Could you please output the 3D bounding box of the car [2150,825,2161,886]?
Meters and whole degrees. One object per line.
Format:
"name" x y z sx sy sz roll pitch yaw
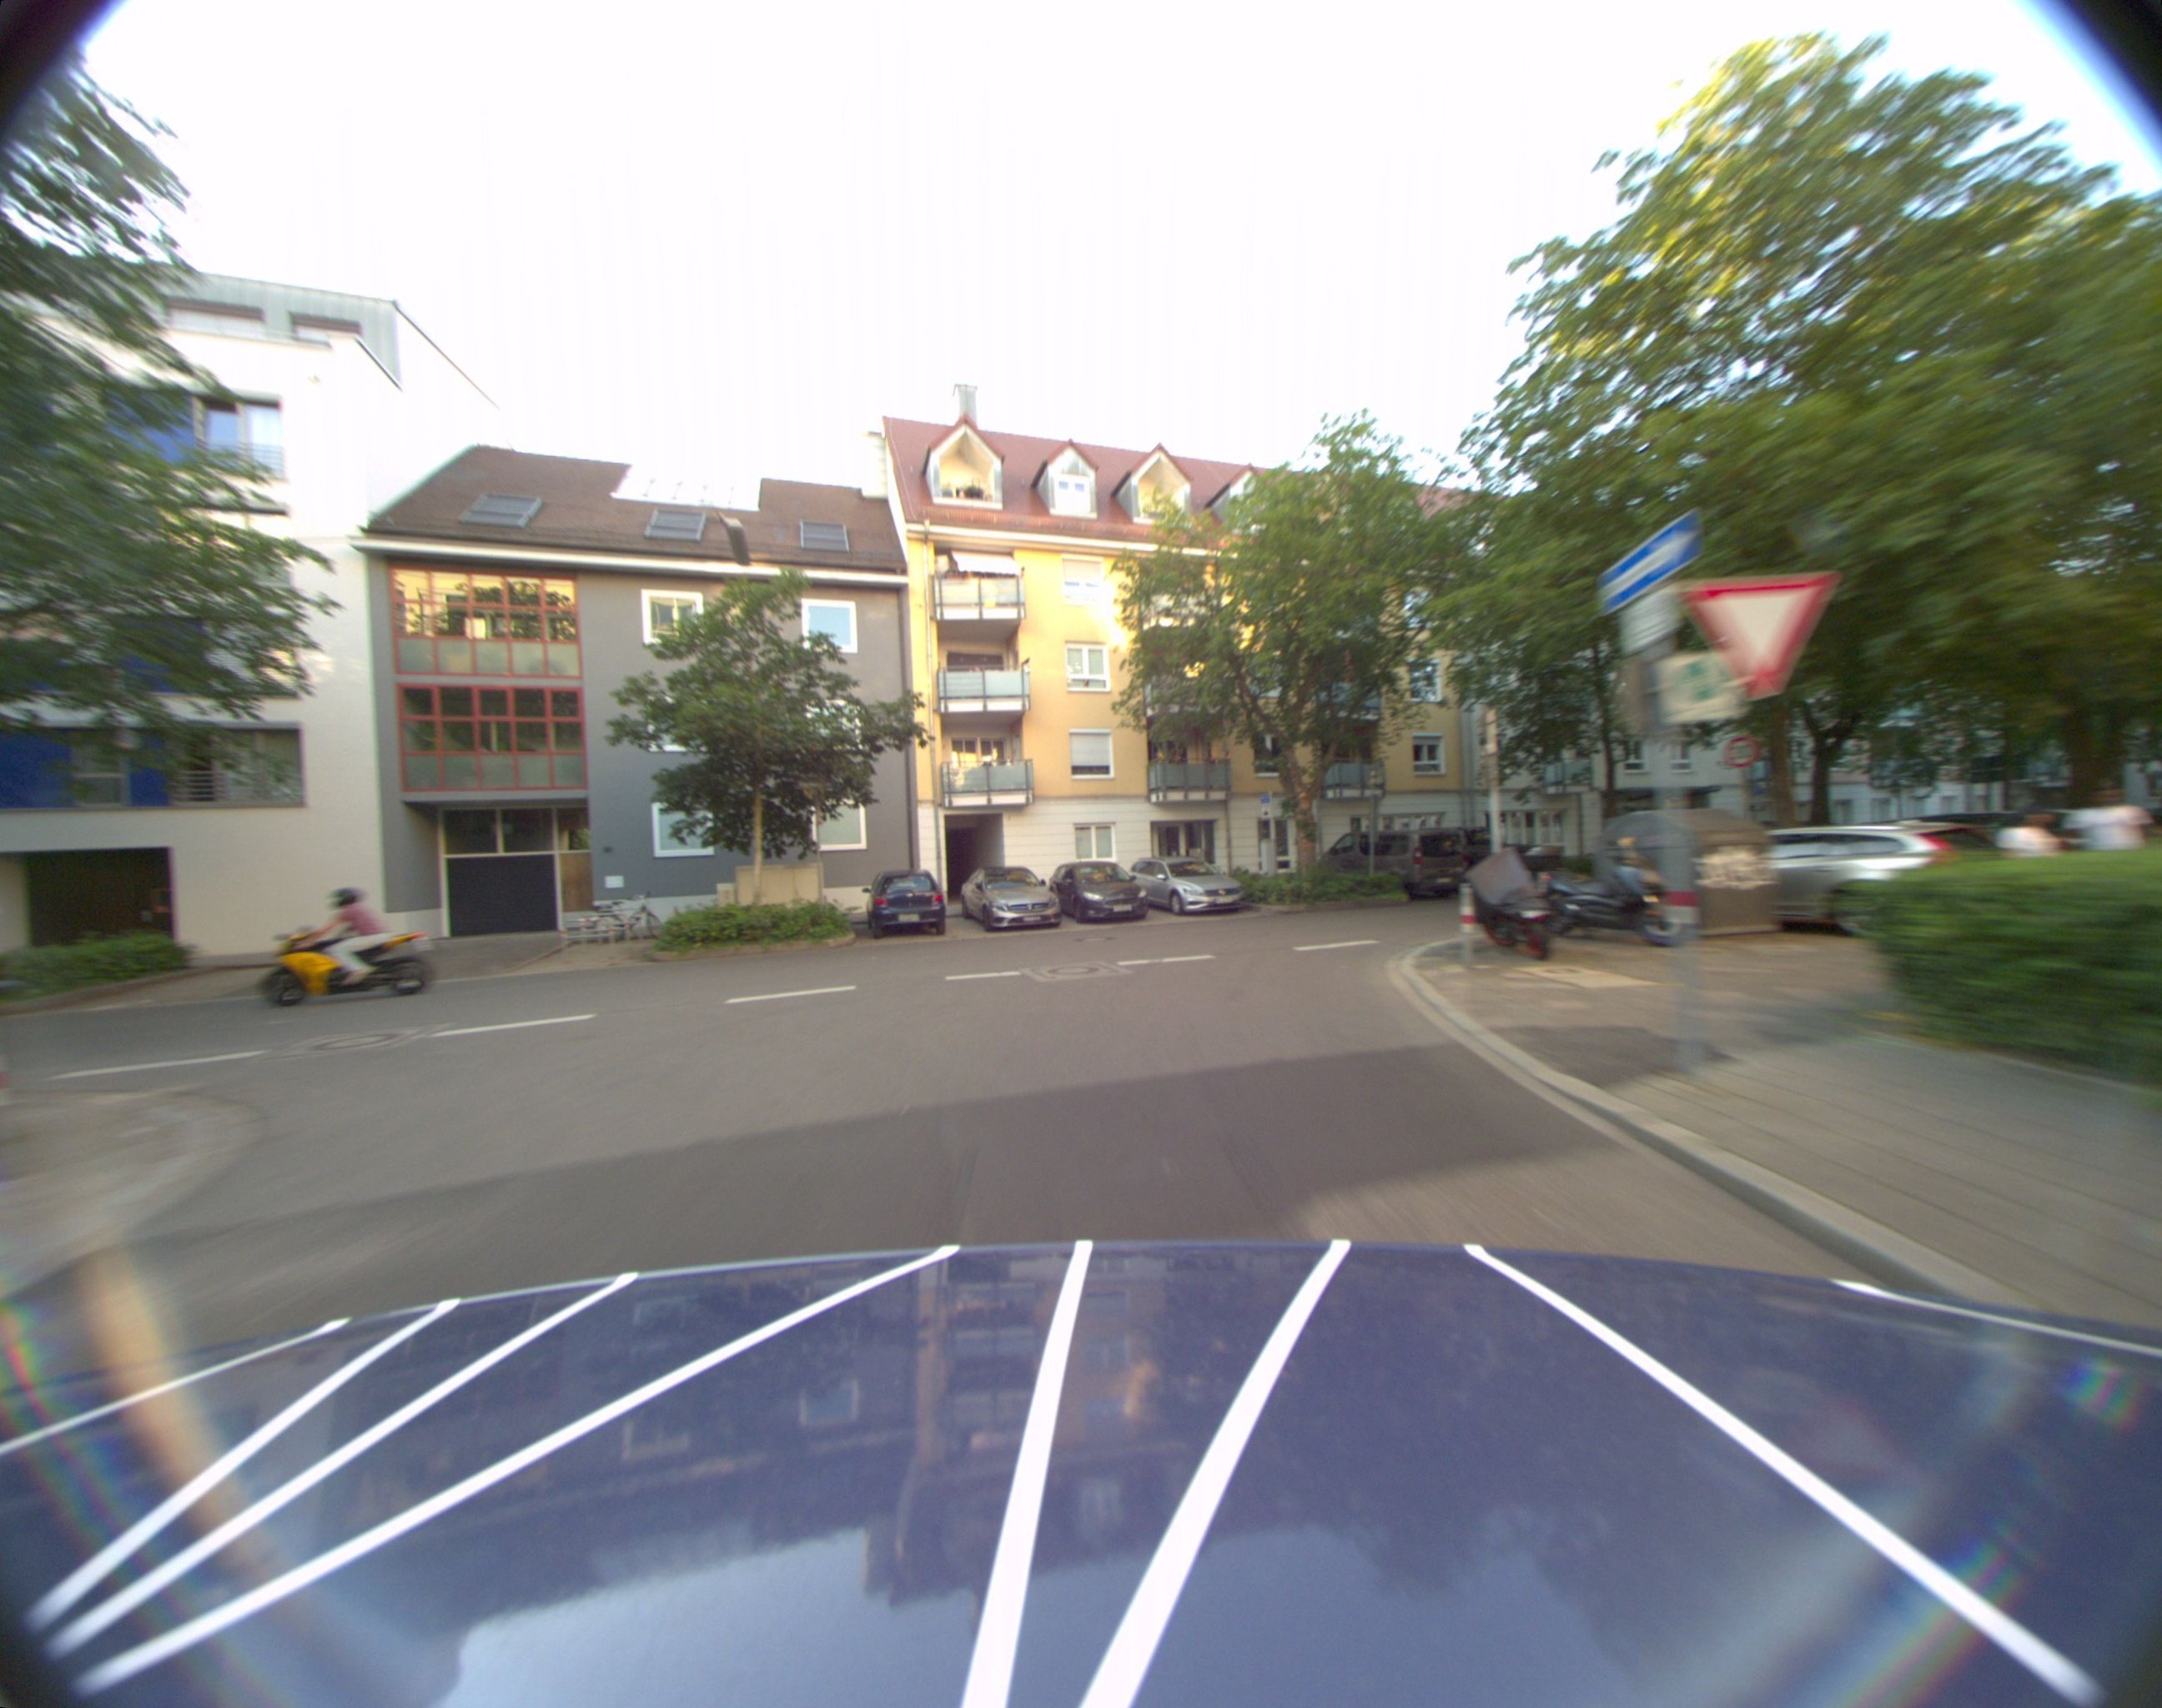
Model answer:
"car" 26.177 -0.074 15.871 1.748 1.371 4.107 -2 -1 -20

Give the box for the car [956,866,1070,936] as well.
"car" -1.870 1.107 19.398 1.873 1.499 4.287 -2 0 -19

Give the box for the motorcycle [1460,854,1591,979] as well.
"motorcycle" 5.480 0.702 9.539 0.722 1.366 2.226 -2 0 12

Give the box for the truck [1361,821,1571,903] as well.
"truck" 11.736 0.090 23.843 2.262 2.122 6.011 -2 4 -18

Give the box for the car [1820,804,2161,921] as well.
"car" 15.844 0.165 12.745 2.066 1.674 4.405 -2 -2 -20

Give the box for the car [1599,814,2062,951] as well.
"car" 10.837 0.435 11.559 2.056 1.571 4.508 -3 -2 -17

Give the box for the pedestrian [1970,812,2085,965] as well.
"pedestrian" 11.447 0.409 9.210 0.697 1.777 0.530 -2 0 32

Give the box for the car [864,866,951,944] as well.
"car" -4.267 1.142 18.353 1.747 1.517 3.355 -2 2 -17

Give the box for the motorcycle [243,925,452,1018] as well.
"motorcycle" -10.937 1.721 11.432 2.110 1.115 0.735 -2 0 -21

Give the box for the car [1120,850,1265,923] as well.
"car" 2.882 0.831 20.913 1.838 1.694 4.804 -2 0 -20

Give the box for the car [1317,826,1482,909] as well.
"car" 9.357 0.278 22.830 2.038 2.122 4.625 -2 4 -18

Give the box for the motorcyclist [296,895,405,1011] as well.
"motorcyclist" -10.950 1.453 11.426 0.916 1.604 0.721 -2 0 -21

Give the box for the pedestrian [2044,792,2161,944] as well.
"pedestrian" 12.583 0.167 9.327 0.666 1.777 0.698 -2 0 -14

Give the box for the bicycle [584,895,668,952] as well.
"bicycle" -10.735 1.627 17.987 1.501 1.166 0.726 -2 5 -17

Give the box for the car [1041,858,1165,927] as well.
"car" 0.464 0.950 20.216 1.855 1.554 4.074 -2 0 -20

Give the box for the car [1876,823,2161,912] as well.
"car" 17.928 0.223 13.546 2.073 1.416 4.724 -2 -1 -20

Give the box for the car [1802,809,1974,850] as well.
"car" 33.555 -1.026 31.784 1.774 1.543 4.578 -2 3 -19

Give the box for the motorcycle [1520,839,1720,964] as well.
"motorcycle" 7.200 0.587 10.328 0.691 1.485 2.221 -3 0 -16
